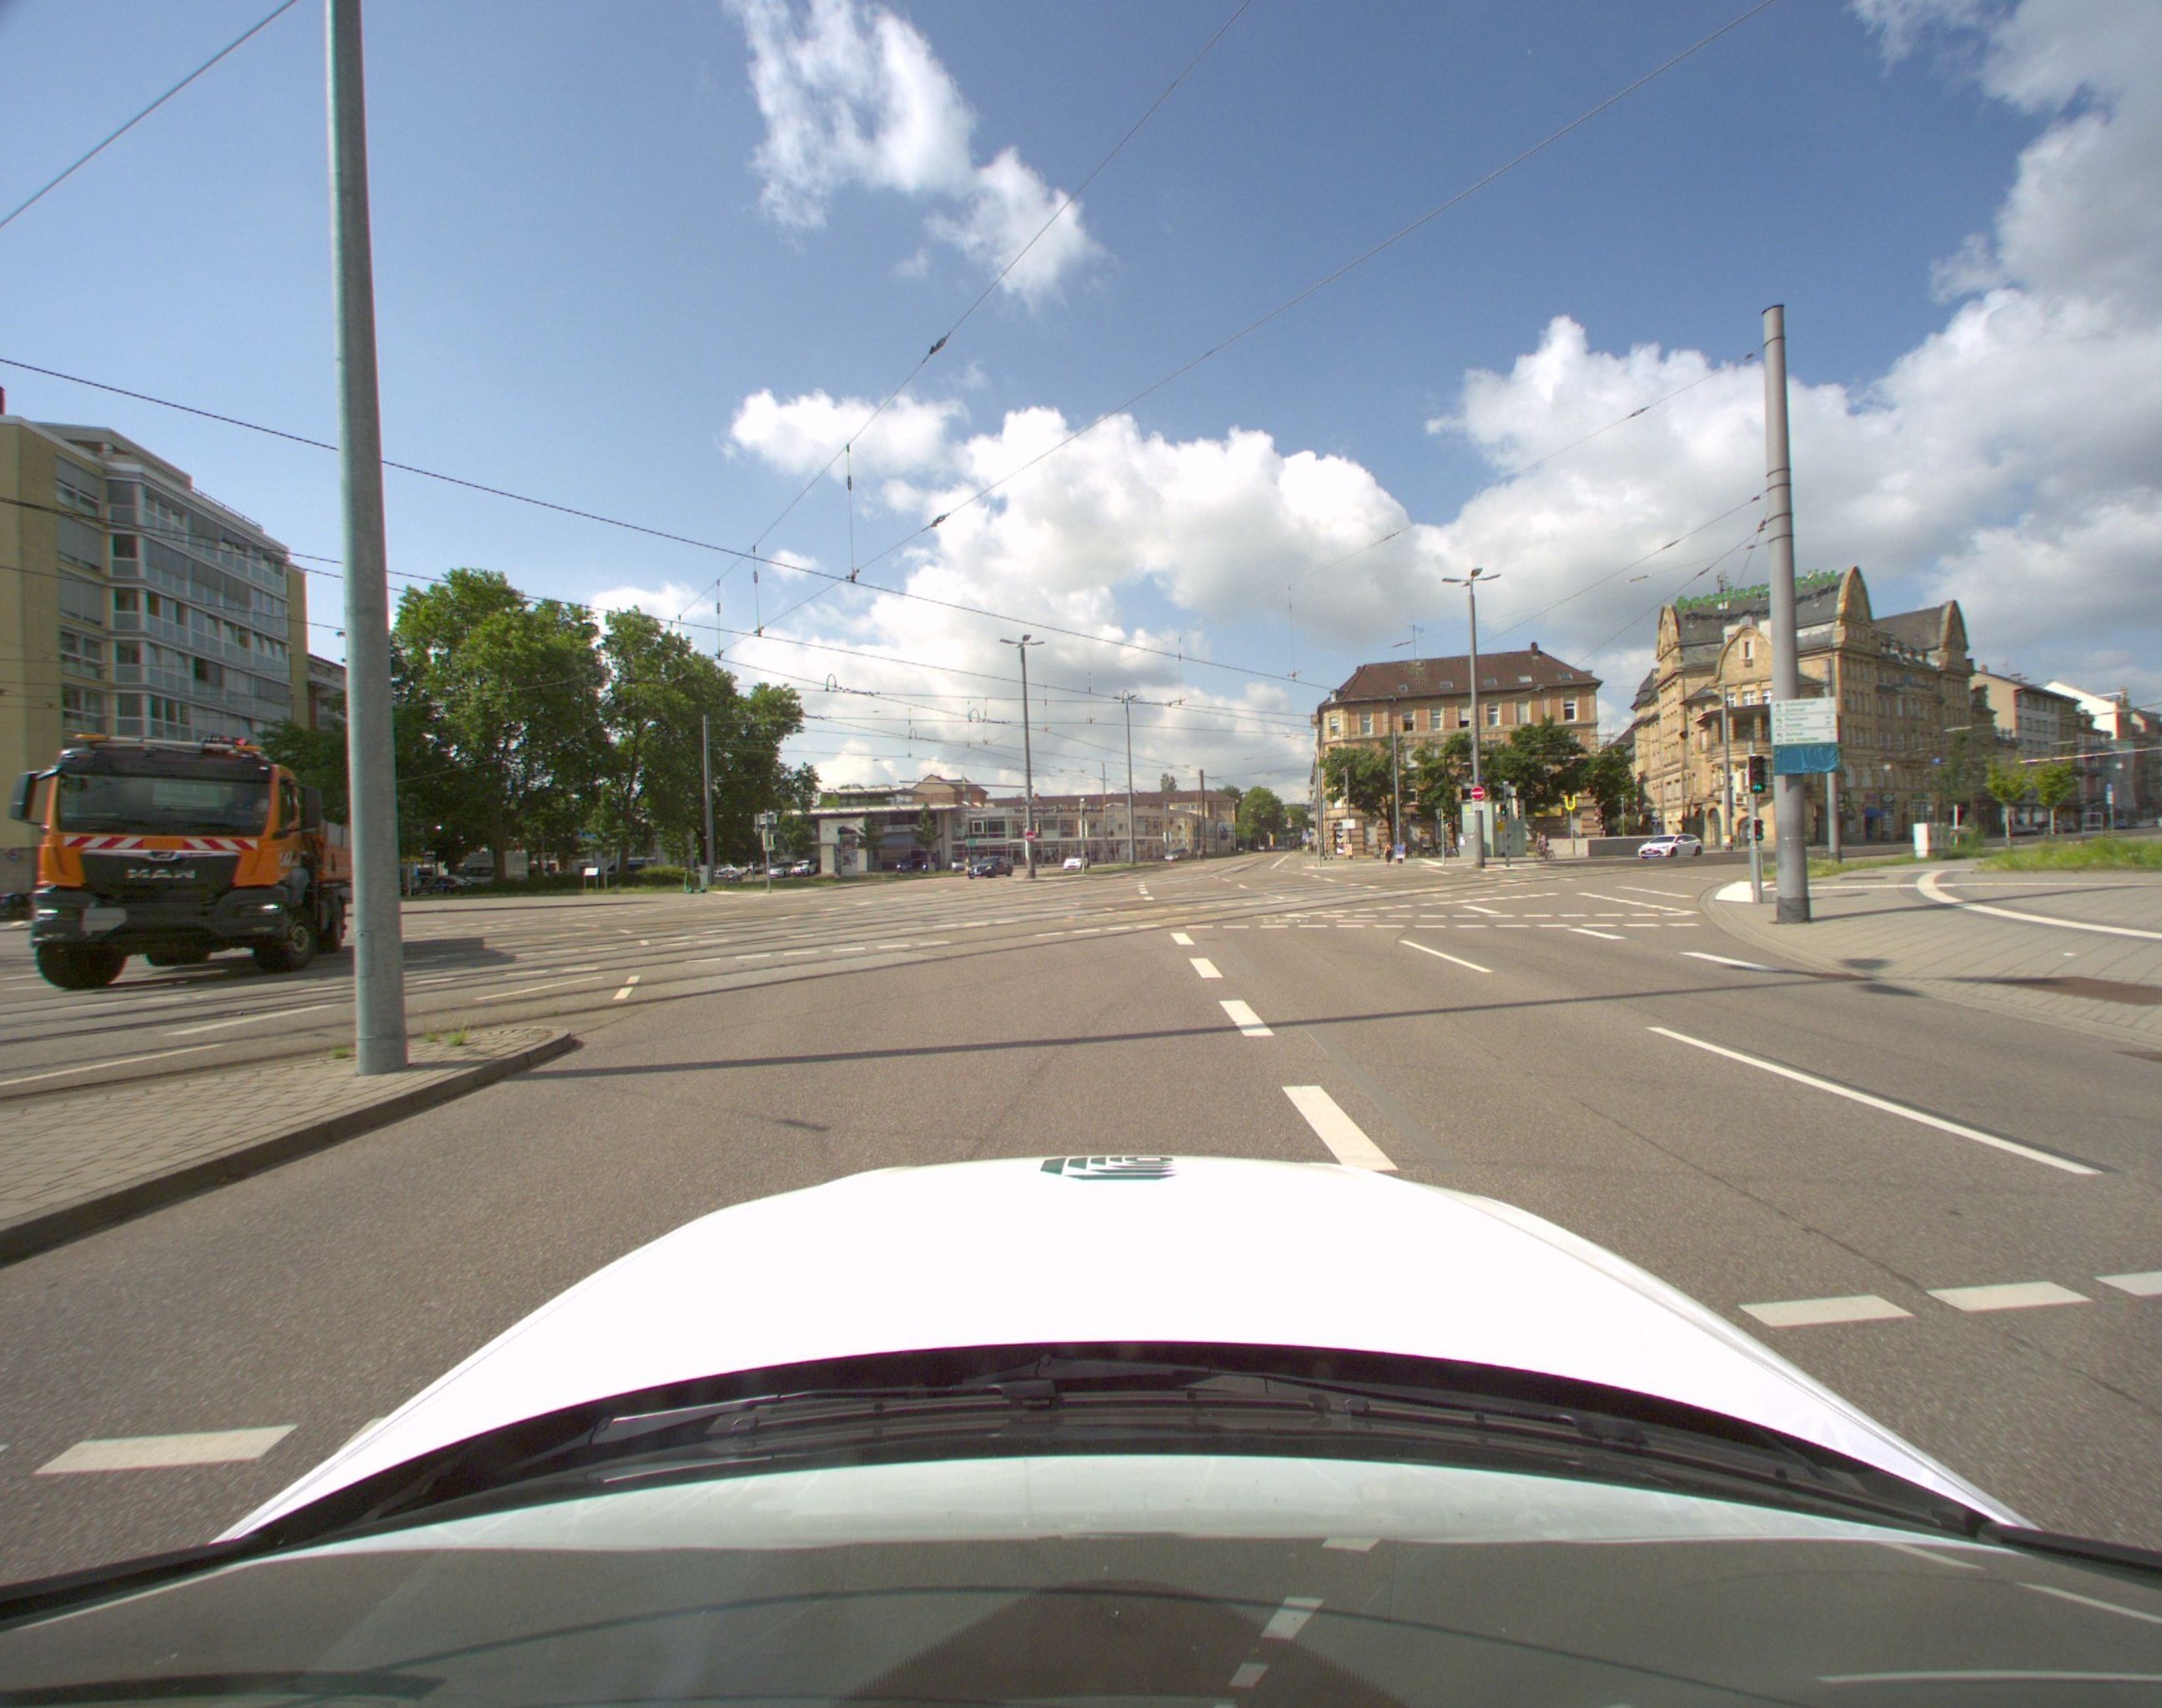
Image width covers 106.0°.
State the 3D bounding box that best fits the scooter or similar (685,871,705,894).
[{"bbox_3d":[-20.807,1.523,43.919,1.051,1.196,0.384,-1,-1,26],"label":"scooter or similar"}]

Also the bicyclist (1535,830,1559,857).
[{"bbox_3d":[29.740,-0.664,51.983,1.144,1.674,0.613,-2,-1,-10],"label":"bicyclist"}]

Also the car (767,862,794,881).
[{"bbox_3d":[-33.760,1.948,91.642,1.992,2.014,3.988,1,-1,-8],"label":"car"}]

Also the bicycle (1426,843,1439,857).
[{"bbox_3d":[30.085,-0.336,69.762,0.753,1.166,2.697,-1,-1,18],"label":"bicycle"}]

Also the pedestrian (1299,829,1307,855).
[{"bbox_3d":[26.336,-1.427,96.562,0.660,3.121,0.893,-1,-1,24],"label":"pedestrian"}]

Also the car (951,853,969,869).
[{"bbox_3d":[-13.821,0.805,92.846,1.928,1.683,3.987,0,-1,-9],"label":"car"}]

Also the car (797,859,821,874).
[{"bbox_3d":[-30.786,1.389,92.242,1.784,1.682,3.988,-2,0,-8],"label":"car"}]

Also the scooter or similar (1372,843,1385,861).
[{"bbox_3d":[25.733,-0.184,70.475,0.871,1.482,2.022,-2,0,15],"label":"scooter or similar"}]

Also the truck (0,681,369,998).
[{"bbox_3d":[-14.935,-0.146,14.316,2.850,4.008,7.982,-2,0,-36],"label":"truck"}]

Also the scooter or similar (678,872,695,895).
[{"bbox_3d":[-21.054,1.574,43.438,1.051,1.196,0.384,-1,-1,37],"label":"scooter or similar"}]

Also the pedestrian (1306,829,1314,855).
[{"bbox_3d":[27.028,-1.401,96.237,0.718,3.076,0.893,-1,-1,24],"label":"pedestrian"}]

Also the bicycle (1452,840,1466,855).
[{"bbox_3d":[32.194,-0.558,69.366,0.753,1.165,2.697,-2,0,17],"label":"bicycle"}]

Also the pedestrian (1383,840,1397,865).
[{"bbox_3d":[19.091,-0.073,50.324,0.733,1.516,0.548,-2,0,23],"label":"pedestrian"}]

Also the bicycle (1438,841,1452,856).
[{"bbox_3d":[30.986,-0.467,69.343,0.753,1.165,2.697,-2,0,17],"label":"bicycle"}]

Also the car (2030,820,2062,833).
[{"bbox_3d":[114.123,-3.251,96.278,4.013,1.384,1.851,-2,0,-31],"label":"car"}]

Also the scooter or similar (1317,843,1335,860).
[{"bbox_3d":[21.818,-0.213,72.481,1.169,1.386,2.811,0,-1,9],"label":"scooter or similar"}]

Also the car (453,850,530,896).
[{"bbox_3d":[-42.031,1.343,58.331,1.997,3.043,7.210,-2,0,-15],"label":"car"}]

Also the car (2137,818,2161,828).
[{"bbox_3d":[159.991,-4.662,121.919,4.013,1.384,1.851,0,-1,-31],"label":"car"}]

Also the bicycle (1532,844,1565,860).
[{"bbox_3d":[29.847,-0.117,52.005,1.780,0.956,0.841,-3,-2,-21],"label":"bicycle"}]

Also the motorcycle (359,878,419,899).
[{"bbox_3d":[-38.156,1.898,44.958,0.962,1.030,2.309,-4,-1,32],"label":"motorcycle"}]

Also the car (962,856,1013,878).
[{"bbox_3d":[-6.320,0.869,55.322,1.849,1.376,3.960,-2,0,19],"label":"car"}]

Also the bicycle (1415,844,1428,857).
[{"bbox_3d":[29.255,-0.314,70.054,0.753,1.165,2.697,0,0,17],"label":"bicycle"}]

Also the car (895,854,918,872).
[{"bbox_3d":[-19.554,1.006,91.427,1.990,1.838,3.994,-3,-1,-4],"label":"car"}]

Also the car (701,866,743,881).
[{"bbox_3d":[-37.933,2.052,86.031,3.658,1.488,1.673,0,0,0],"label":"car"}]

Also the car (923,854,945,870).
[{"bbox_3d":[-16.389,0.871,90.927,1.991,1.725,3.992,0,-1,-6],"label":"car"}]

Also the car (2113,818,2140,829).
[{"bbox_3d":[147.544,-4.287,114.906,4.013,1.384,1.851,0,-1,-31],"label":"car"}]

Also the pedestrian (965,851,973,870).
[{"bbox_3d":[-12.005,0.694,87.226,0.806,2.013,0.807,-2,0,-4],"label":"pedestrian"}]

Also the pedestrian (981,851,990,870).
[{"bbox_3d":[-10.551,0.691,89.875,0.868,2.013,0.701,-2,0,-8],"label":"pedestrian"}]

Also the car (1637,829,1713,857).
[{"bbox_3d":[36.179,-0.622,49.588,4.516,1.596,1.940,0,-1,-27],"label":"car"}]

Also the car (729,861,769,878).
[{"bbox_3d":[-39.969,1.876,97.994,3.968,2.014,2.003,0,-1,5],"label":"car"}]

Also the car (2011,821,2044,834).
[{"bbox_3d":[108.192,-3.061,93.088,4.013,1.384,1.851,-1,-1,-31],"label":"car"}]

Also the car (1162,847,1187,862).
[{"bbox_3d":[10.894,0.050,94.752,1.976,1.574,3.756,-2,0,21],"label":"car"}]

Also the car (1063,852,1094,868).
[{"bbox_3d":[-0.196,0.560,73.907,1.671,1.470,3.675,-1,-1,21],"label":"car"}]

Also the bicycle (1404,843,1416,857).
[{"bbox_3d":[28.419,-0.315,70.355,0.753,1.165,2.697,-2,0,17],"label":"bicycle"}]
